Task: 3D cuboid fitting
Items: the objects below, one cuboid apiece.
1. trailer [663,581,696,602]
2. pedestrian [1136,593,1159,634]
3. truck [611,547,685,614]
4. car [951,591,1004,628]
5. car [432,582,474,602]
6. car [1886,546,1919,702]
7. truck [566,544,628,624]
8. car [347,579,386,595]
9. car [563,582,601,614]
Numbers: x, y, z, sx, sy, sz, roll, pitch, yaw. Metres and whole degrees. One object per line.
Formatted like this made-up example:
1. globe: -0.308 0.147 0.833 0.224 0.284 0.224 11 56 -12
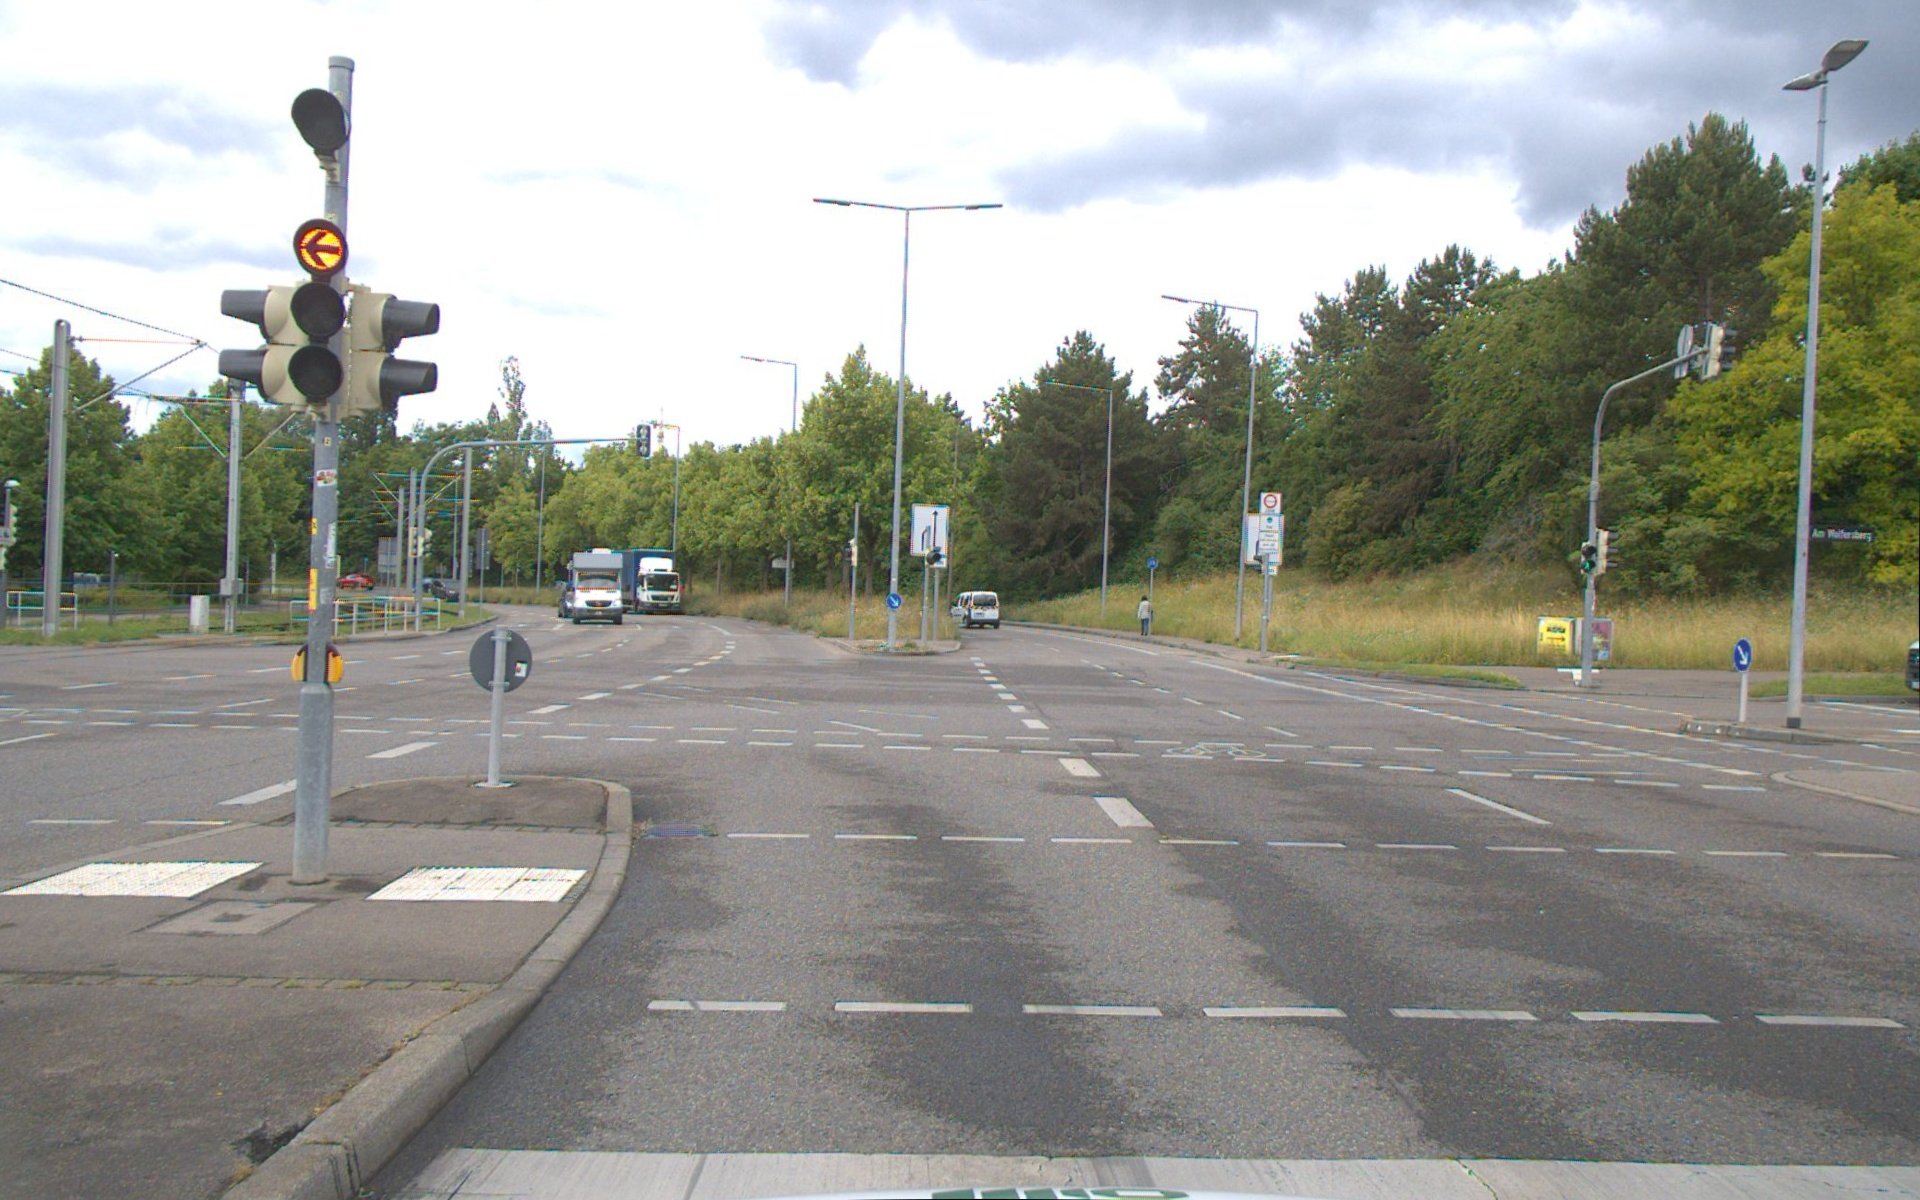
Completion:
1. trailer: -22.633 -0.689 133.366 1.745 1.644 3.015 1 0 -28
2. pedestrian: 7.719 0.561 68.145 0.797 1.656 0.790 1 0 -1
3. truck: -19.368 -1.133 101.856 3.001 3.826 12.751 1 0 -17
4. car: 0.850 0.486 83.713 1.957 1.833 4.829 1 0 -8
5. car: -41.468 -0.660 135.159 1.769 1.471 4.465 -2 3 -39
6. car: 20.339 0.464 30.095 5.772 2.830 2.135 0 0 -1
7. truck: -15.234 -0.641 69.212 2.082 3.190 5.872 1 0 -17
8. car: -60.301 -1.290 167.914 3.943 1.573 1.778 1 0 35
9. car: -19.425 -0.114 85.111 1.749 1.471 4.517 0 2 -11
